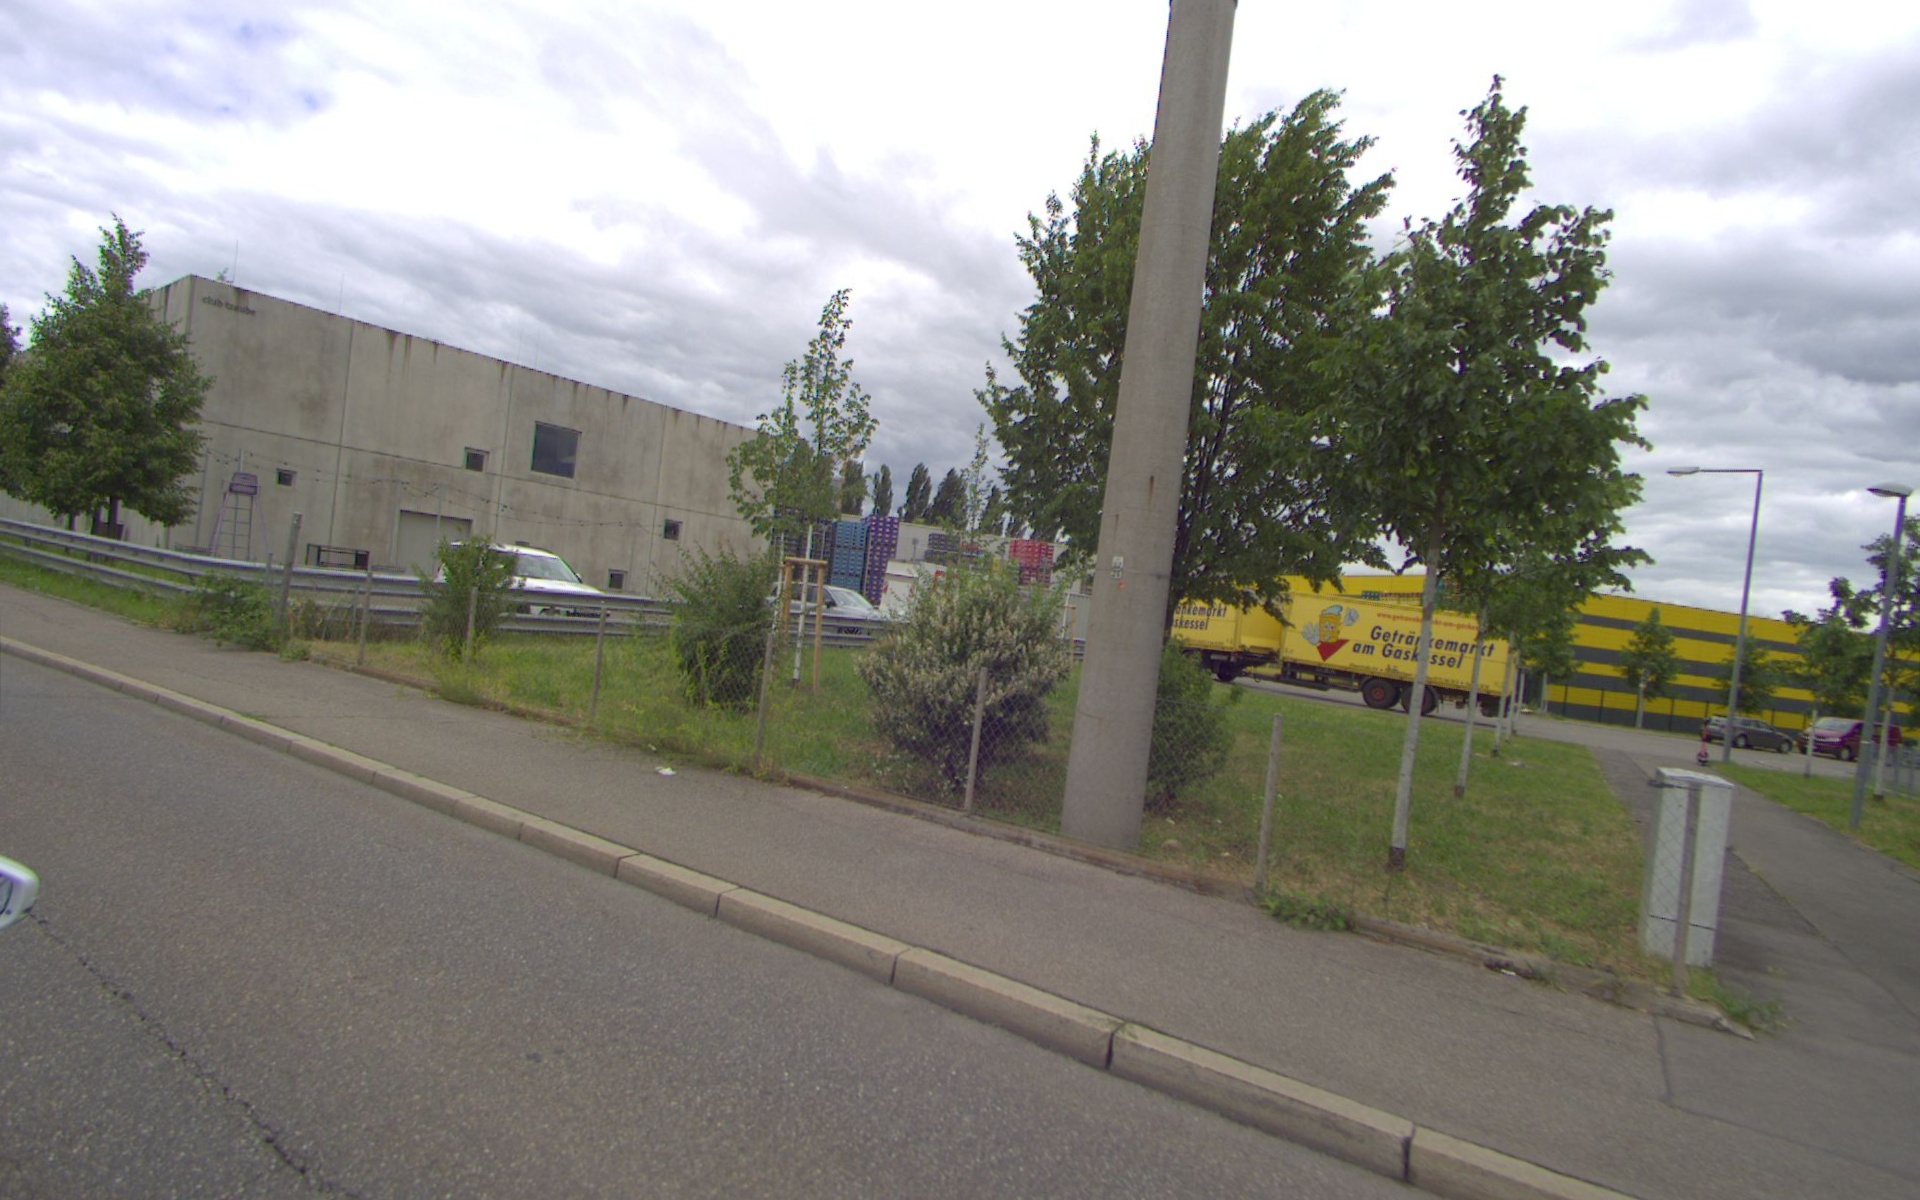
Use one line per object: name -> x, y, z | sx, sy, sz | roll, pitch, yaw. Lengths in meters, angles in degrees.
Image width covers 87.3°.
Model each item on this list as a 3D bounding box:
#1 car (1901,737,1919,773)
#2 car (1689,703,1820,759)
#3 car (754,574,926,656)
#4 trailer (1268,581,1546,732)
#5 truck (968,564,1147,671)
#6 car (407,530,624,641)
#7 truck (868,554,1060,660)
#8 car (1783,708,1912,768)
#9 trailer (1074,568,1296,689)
car -> 48.594, 7.825, 48.692 | 4.299, 1.622, 2.001 | 8, -3, -4
car -> 36.334, 5.994, 46.088 | 4.298, 1.713, 1.998 | 8, 1, -3
car -> -3.438, 0.400, 28.377 | 4.616, 1.741, 1.911 | 7, 0, 37
trailer -> 16.149, 1.928, 36.670 | 8.551, 4.123, 2.942 | 8, 1, 31
truck -> 3.979, 0.779, 39.232 | 2.588, 3.070, 7.741 | 5, -4, 42
car -> -8.899, -0.316, 20.036 | 4.358, 1.592, 1.752 | 7, -2, 34
truck -> 0.315, 0.370, 40.060 | 7.721, 3.070, 2.325 | 10, -4, -40
car -> 42.080, 6.515, 47.734 | 4.298, 2.144, 2.001 | 8, -2, -3
trailer -> 9.173, 1.020, 42.818 | 2.887, 4.012, 9.944 | 7, 0, -30
